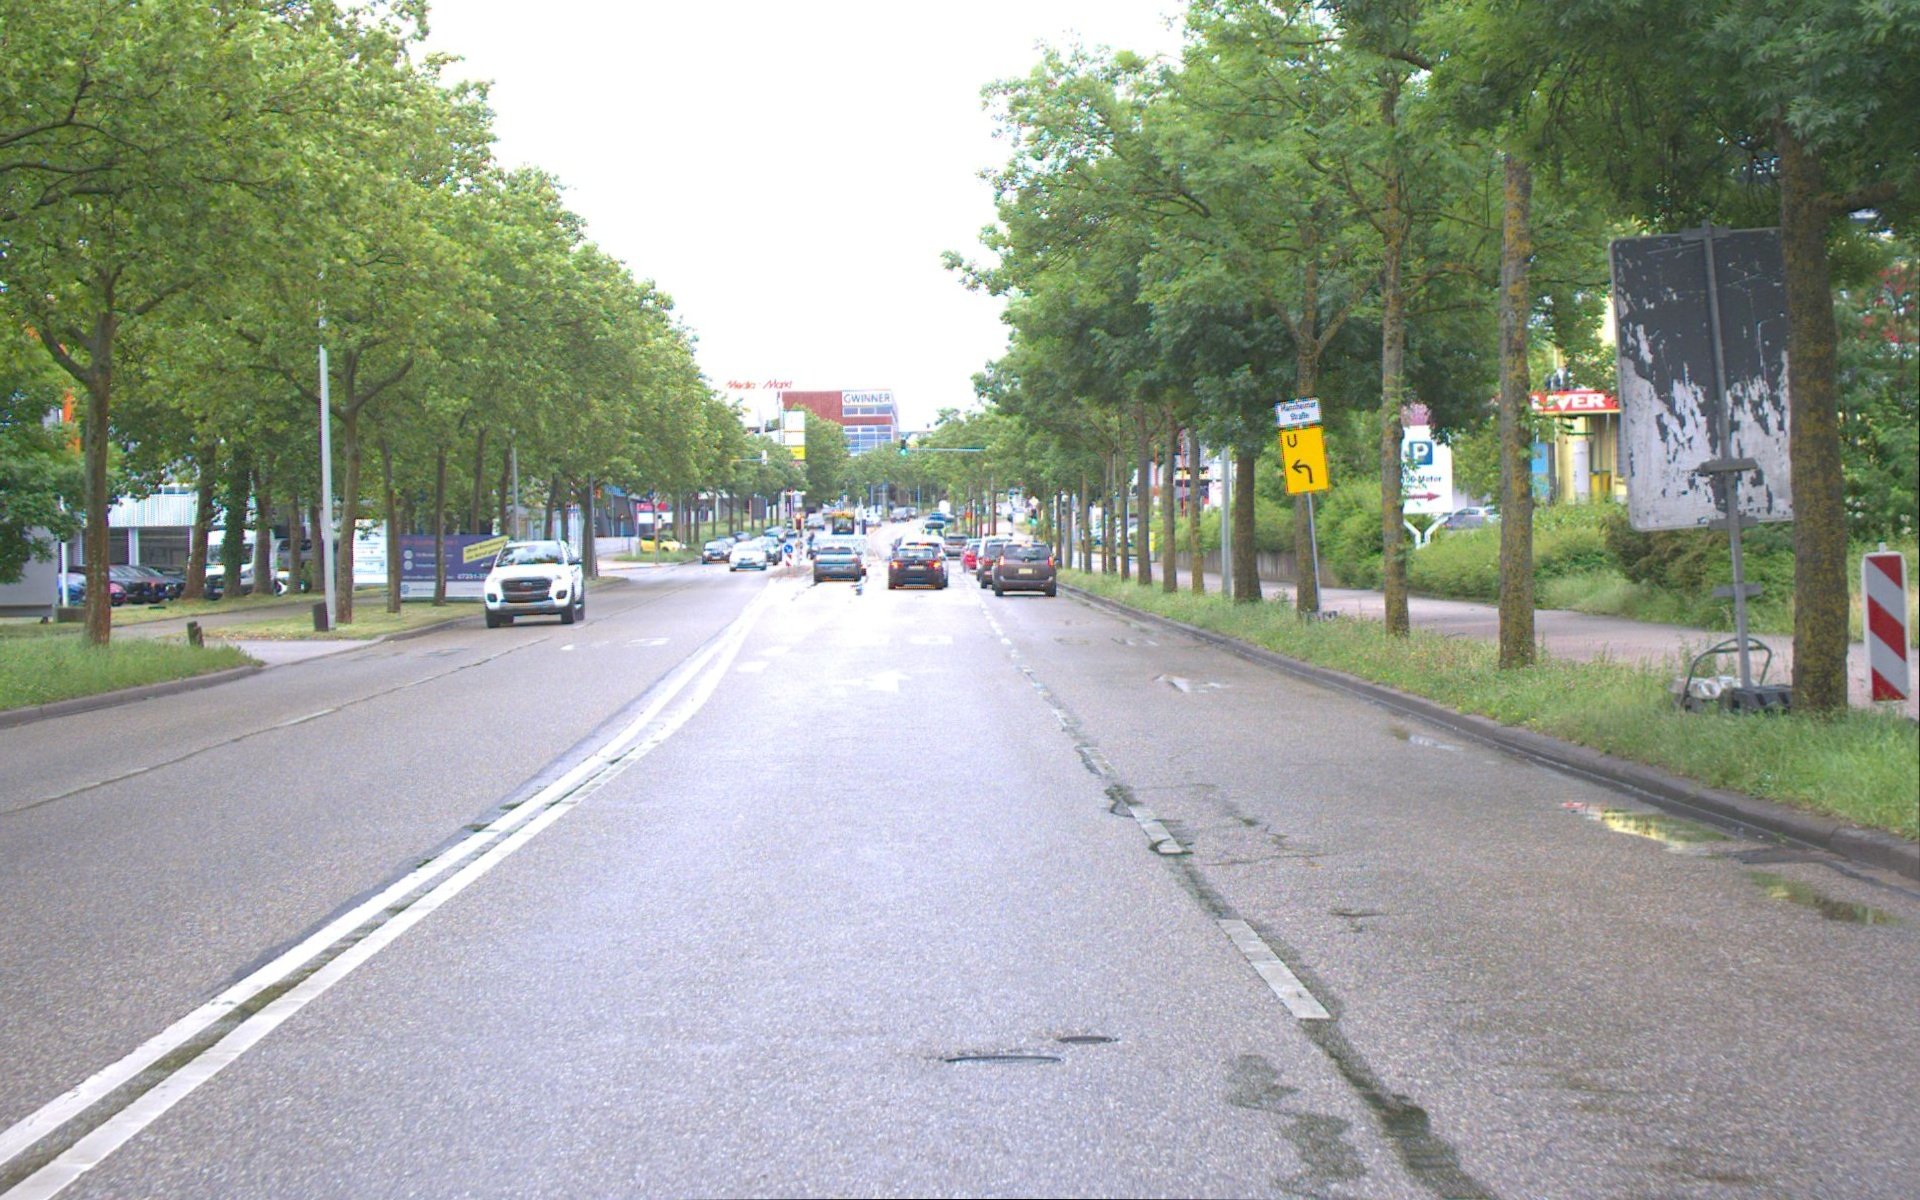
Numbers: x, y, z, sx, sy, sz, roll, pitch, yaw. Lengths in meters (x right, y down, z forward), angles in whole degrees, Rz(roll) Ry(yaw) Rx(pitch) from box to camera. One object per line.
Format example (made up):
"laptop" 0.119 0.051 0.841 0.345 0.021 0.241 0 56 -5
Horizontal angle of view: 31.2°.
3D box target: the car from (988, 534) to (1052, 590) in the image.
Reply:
"car" 1.774 -1.150 102.475 1.726 1.619 4.471 -1 1 -1

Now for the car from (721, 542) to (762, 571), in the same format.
"car" -11.419 -2.290 179.276 1.993 1.424 4.686 -2 1 -5

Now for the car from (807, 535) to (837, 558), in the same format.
"car" -8.522 -3.320 212.108 1.682 1.372 4.001 -1 1 -4

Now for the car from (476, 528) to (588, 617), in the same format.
"car" -9.245 -0.616 74.624 1.911 1.799 5.342 -2 1 -2

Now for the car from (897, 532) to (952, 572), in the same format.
"car" -1.292 -1.725 122.799 1.682 1.372 4.001 -1 1 -4

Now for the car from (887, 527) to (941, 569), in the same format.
"car" -1.561 -1.753 116.079 1.781 1.393 4.000 0 1 -2

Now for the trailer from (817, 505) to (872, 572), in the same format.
"trailer" -5.188 -2.755 154.135 2.372 2.887 5.546 -1 1 -2

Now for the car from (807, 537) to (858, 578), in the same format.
"car" -5.148 -1.726 139.232 1.907 1.573 4.881 -1 1 -1

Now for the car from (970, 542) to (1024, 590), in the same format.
"car" 1.292 -1.219 121.452 1.801 1.581 4.451 1 1 0

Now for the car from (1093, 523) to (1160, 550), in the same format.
"car" 10.380 -3.982 214.323 1.930 1.571 4.278 0 2 41

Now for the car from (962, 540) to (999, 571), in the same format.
"car" 0.958 -2.115 163.159 1.695 1.438 3.989 -1 1 0

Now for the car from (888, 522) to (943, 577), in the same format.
"car" -1.694 -1.880 129.813 1.993 2.007 4.000 1 0 -1

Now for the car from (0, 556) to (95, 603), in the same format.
"car" -30.721 -0.671 113.092 3.989 1.515 1.864 -1 1 14

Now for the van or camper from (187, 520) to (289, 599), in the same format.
"van or camper" -23.296 -1.337 111.119 1.993 2.462 6.401 0 1 0
